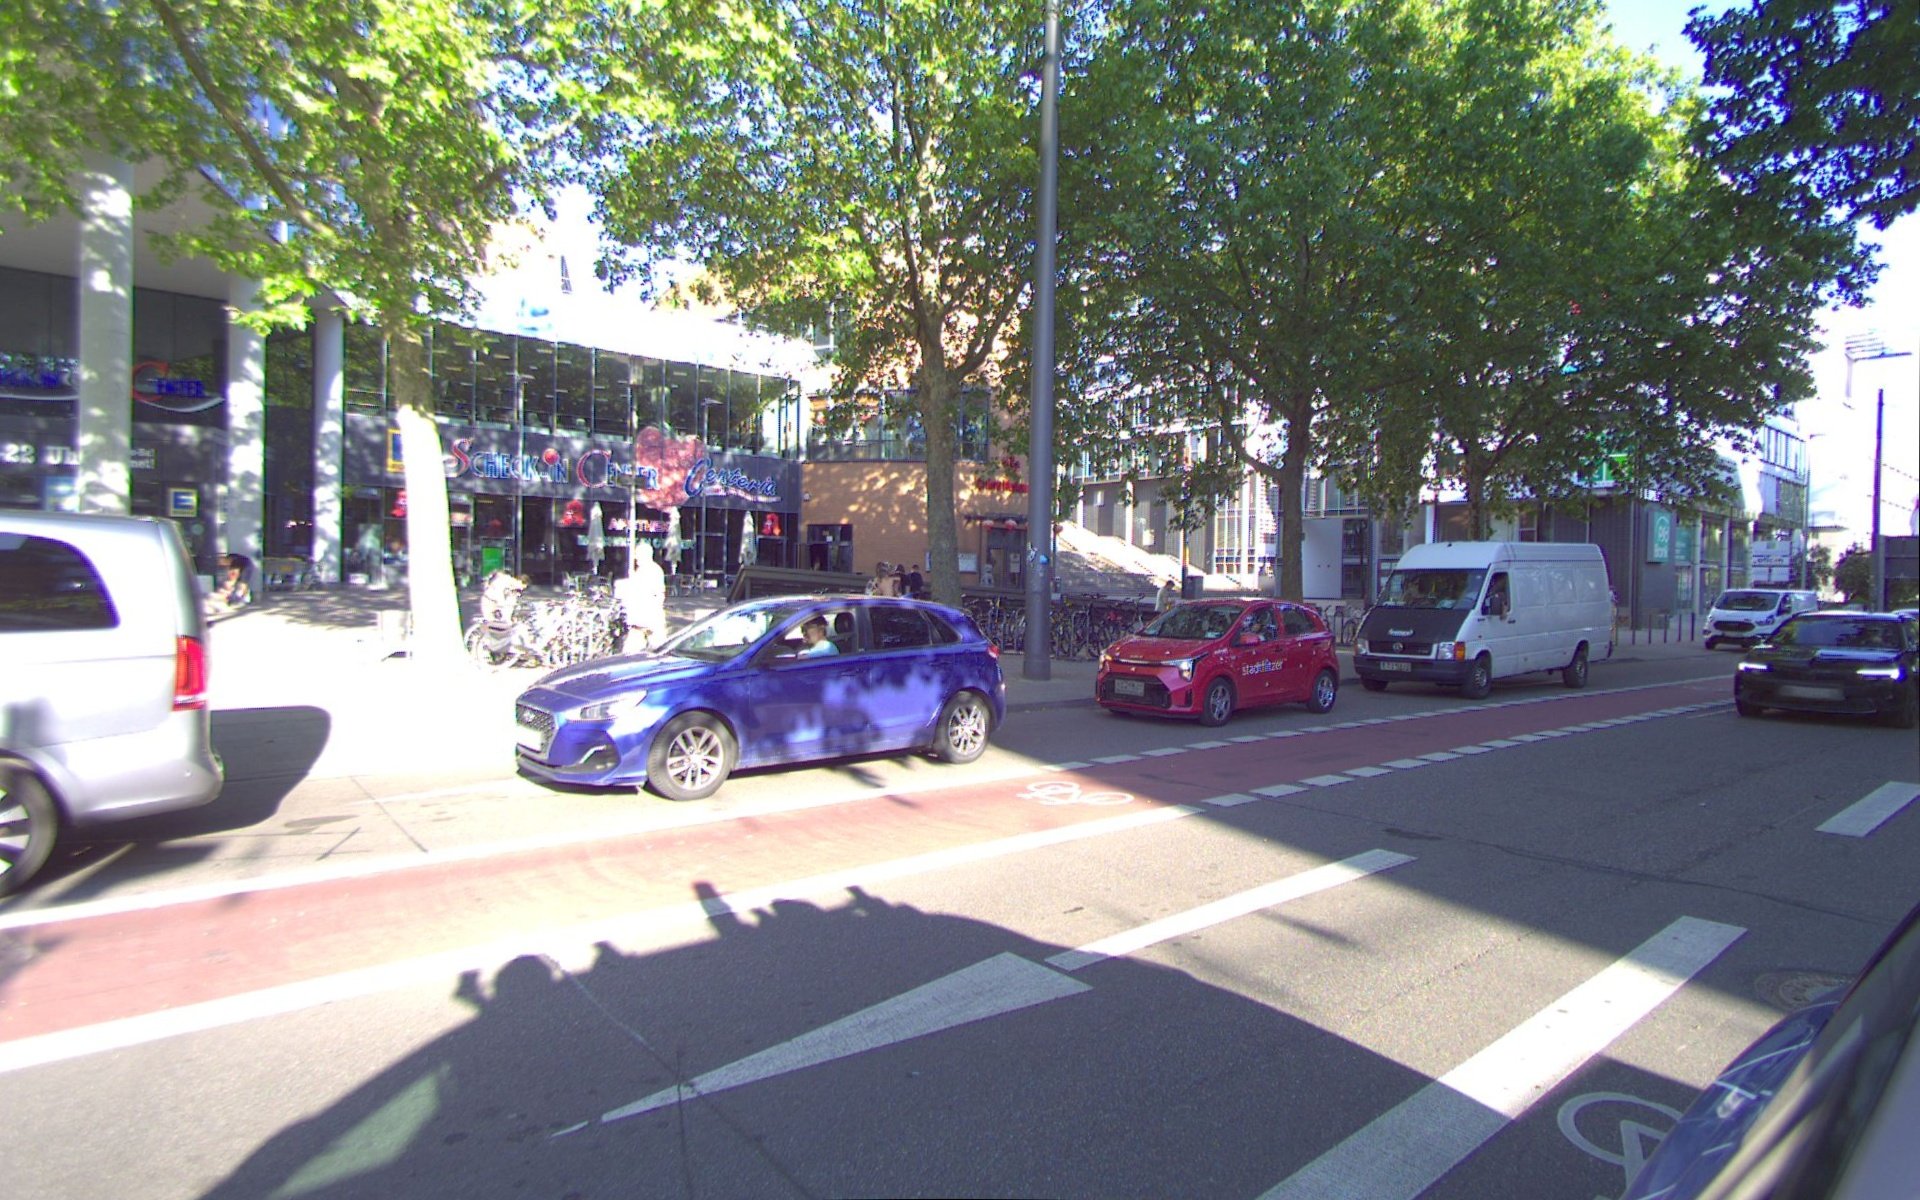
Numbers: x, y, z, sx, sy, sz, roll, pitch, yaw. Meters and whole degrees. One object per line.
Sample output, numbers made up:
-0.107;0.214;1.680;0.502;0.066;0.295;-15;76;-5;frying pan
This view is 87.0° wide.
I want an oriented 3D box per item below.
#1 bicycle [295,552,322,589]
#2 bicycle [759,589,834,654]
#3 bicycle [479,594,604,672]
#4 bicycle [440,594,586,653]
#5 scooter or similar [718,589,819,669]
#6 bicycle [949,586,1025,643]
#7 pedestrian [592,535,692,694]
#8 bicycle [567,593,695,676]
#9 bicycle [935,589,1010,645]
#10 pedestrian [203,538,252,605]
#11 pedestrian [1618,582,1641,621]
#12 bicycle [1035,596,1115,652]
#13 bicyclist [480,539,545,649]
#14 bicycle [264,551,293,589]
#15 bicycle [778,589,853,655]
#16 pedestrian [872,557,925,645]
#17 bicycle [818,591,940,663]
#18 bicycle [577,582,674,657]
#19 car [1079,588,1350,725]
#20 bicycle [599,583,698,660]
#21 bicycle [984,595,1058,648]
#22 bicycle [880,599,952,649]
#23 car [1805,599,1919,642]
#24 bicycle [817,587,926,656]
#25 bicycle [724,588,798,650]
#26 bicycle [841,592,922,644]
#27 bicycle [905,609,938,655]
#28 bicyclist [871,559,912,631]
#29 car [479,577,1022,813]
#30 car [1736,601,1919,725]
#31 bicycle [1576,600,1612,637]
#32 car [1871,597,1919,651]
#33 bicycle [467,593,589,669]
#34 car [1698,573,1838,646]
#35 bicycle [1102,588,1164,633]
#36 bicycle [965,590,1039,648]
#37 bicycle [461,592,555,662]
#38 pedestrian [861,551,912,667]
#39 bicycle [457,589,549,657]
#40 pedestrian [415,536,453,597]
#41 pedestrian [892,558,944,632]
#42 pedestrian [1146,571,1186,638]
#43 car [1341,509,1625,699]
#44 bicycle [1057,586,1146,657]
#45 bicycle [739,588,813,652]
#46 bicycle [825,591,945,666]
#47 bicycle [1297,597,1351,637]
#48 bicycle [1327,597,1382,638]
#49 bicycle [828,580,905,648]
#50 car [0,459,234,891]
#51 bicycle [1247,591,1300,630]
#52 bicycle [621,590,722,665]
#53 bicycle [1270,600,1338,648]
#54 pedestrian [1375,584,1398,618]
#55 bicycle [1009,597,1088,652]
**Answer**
-20.818;-0.951;32.367;0.705;1.142;1.921;1;1;-32;bicycle
-3.076;0.394;19.169;0.420;1.174;1.455;2;1;41;bicycle
-5.860;0.438;14.225;1.546;1.038;0.461;0;2;-43;bicycle
-7.432;0.391;16.907;2.138;0.945;0.669;1;1;-13;bicycle
-2.973;0.447;15.677;1.249;1.156;0.905;-2;0;37;scooter or similar
0.590;0.308;21.684;1.662;1.174;0.479;0;1;-37;bicycle
-3.803;0.153;12.088;0.872;1.808;0.796;2;1;43;pedestrian
-4.507;0.446;13.904;1.542;1.070;0.630;0;1;-35;bicycle
0.282;0.367;22.109;1.662;1.174;0.479;0;1;-37;bicycle
-18.897;-0.732;26.089;0.951;1.661;0.865;0;1;-41;pedestrian
29.442;0.073;44.523;0.531;1.697;0.721;1;1;9;pedestrian
2.254;0.450;19.740;1.626;1.044;0.596;0;1;-41;bicycle
-7.460;-0.101;16.894;0.834;1.789;0.754;1;1;-12;bicyclist
-21.483;-0.949;31.936;0.705;1.142;1.921;1;1;-32;bicycle
-2.675;0.385;18.818;0.420;1.174;1.455;2;1;41;bicycle
-1.288;0.006;21.098;0.756;1.779;0.820;1;1;-35;pedestrian
-1.333;0.442;16.615;1.908;1.130;0.598;1;1;-13;bicycle
-5.499;0.305;16.668;1.450;1.174;0.421;0;1;-40;bicycle
3.291;0.608;12.779;3.558;1.482;1.561;0;1;-41;car
-4.971;0.322;16.199;1.451;1.174;0.421;0;1;-42;bicycle
1.263;0.421;20.836;1.626;1.044;0.503;0;1;-41;bicycle
-1.076;0.566;24.883;1.736;1.174;0.578;0;1;-36;bicycle
32.822;0.725;36.494;3.937;1.437;1.791;1;1;-19;car
-1.530;0.367;17.452;1.788;1.130;0.598;1;1;-13;bicycle
-3.917;0.362;19.988;0.420;1.174;1.455;2;1;41;bicycle
-1.806;0.413;23.273;1.741;1.140;0.569;1;1;-19;bicycle
-0.720;0.581;18.517;0.391;0.770;1.114;1;1;-13;bicycle
-1.588;-0.112;23.330;0.804;1.636;0.565;1;1;-18;bicyclist
-1.585;0.591;8.527;4.143;1.482;1.768;0;2;-41;car
12.341;0.733;13.850;4.268;1.443;1.826;0;0;-40;car
20.627;0.590;32.905;1.511;1.173;0.514;0;1;-39;bicycle
28.543;0.691;29.597;3.791;1.482;1.675;0;1;-29;car
-6.231;0.428;14.645;1.546;1.038;0.461;0;2;-43;bicycle
26.216;0.273;32.795;5.189;2.160;2.130;0;2;-35;car
4.639;0.277;27.072;1.622;1.140;0.598;0;1;-32;bicycle
0.894;0.386;21.286;1.626;1.151;0.503;0;1;-41;bicycle
-6.928;0.408;15.548;1.293;1.038;0.397;1;1;-24;bicycle
-1.189;0.129;16.284;0.644;1.808;0.810;1;1;-14;pedestrian
-7.201;0.358;15.977;1.293;1.038;0.397;1;1;-24;bicycle
-16.288;-1.034;31.358;0.834;1.866;1.002;1;1;-15;pedestrian
-1.035;-0.140;24.920;1.000;1.779;0.789;1;1;-35;pedestrian
5.223;0.110;25.699;0.623;1.651;0.719;1;1;-34;pedestrian
9.246;0.051;17.561;6.443;2.759;1.998;0;0;-39;car
2.702;0.389;19.242;1.843;1.280;0.596;0;1;-41;bicycle
-3.551;0.367;19.637;0.420;1.174;1.455;2;1;41;bicycle
-1.183;0.441;15.931;1.788;1.130;0.598;1;1;-13;bicycle
10.049;0.464;27.913;1.624;1.060;0.597;0;1;-37;bicycle
10.590;0.466;27.154;1.624;1.060;0.597;0;1;-37;bicycle
-1.693;0.240;18.460;0.478;1.174;1.455;2;1;41;bicycle
-6.311;0.341;4.350;5.047;1.991;1.997;0;0;-41;car
8.903;0.300;28.704;1.624;1.060;0.597;0;1;-37;bicycle
-4.440;0.403;15.616;1.451;1.095;0.421;0;1;-42;bicycle
7.978;0.540;23.463;1.622;1.060;0.598;0;1;-32;bicycle
18.886;0.028;44.779;0.589;1.474;0.713;1;1;-37;pedestrian
1.784;0.466;20.285;1.626;1.044;0.596;0;1;-41;bicycle
